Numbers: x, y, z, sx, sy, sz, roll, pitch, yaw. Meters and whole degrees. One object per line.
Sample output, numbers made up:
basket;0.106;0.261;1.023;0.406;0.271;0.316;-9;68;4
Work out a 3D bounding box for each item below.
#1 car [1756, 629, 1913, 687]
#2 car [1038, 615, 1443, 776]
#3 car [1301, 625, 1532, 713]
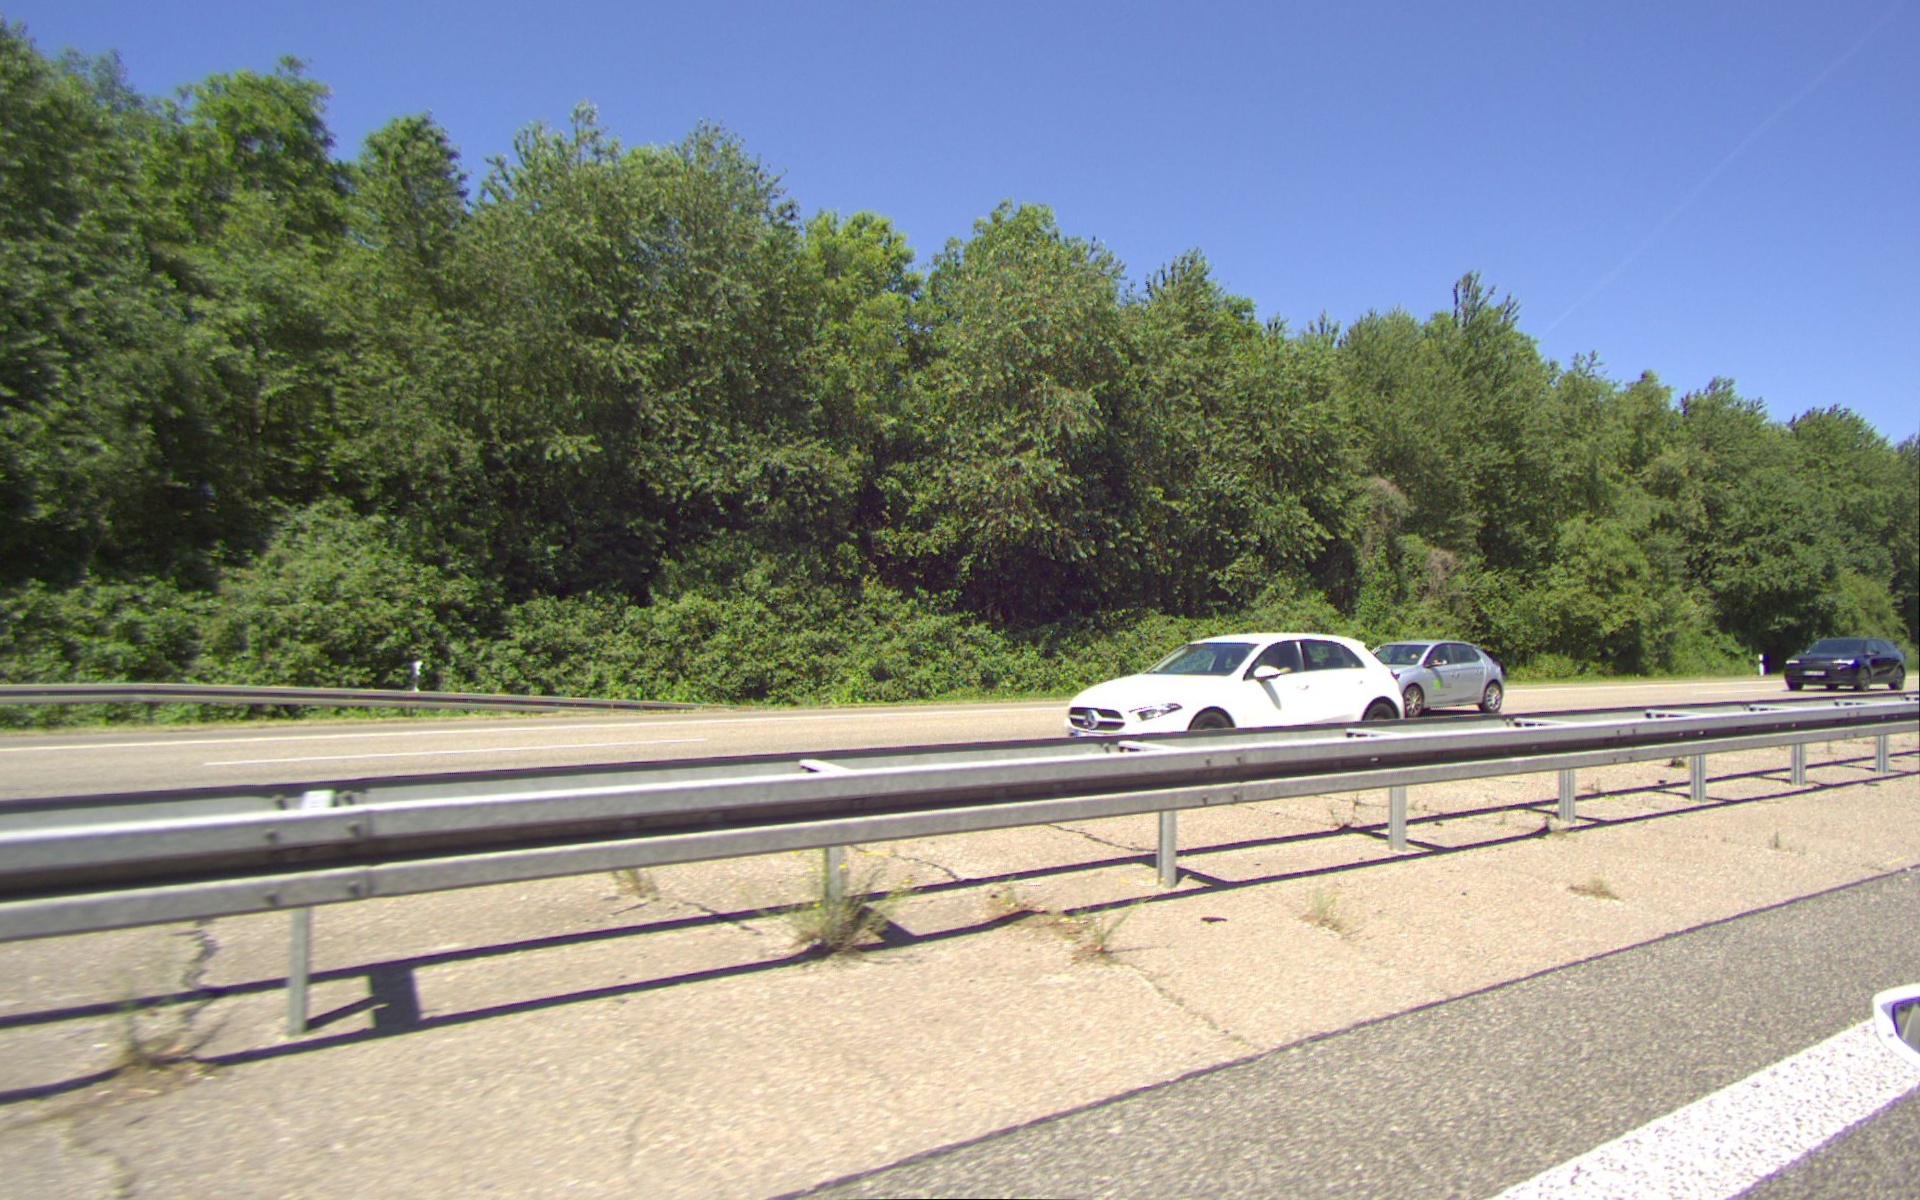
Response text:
car;27.343;1.798;31.385;4.871;1.672;2.264;1;-3;-31
car;3.363;0.991;11.702;4.768;1.543;1.811;1;-2;-31
car;9.053;1.286;19.802;4.768;1.544;1.811;1;-2;-31
